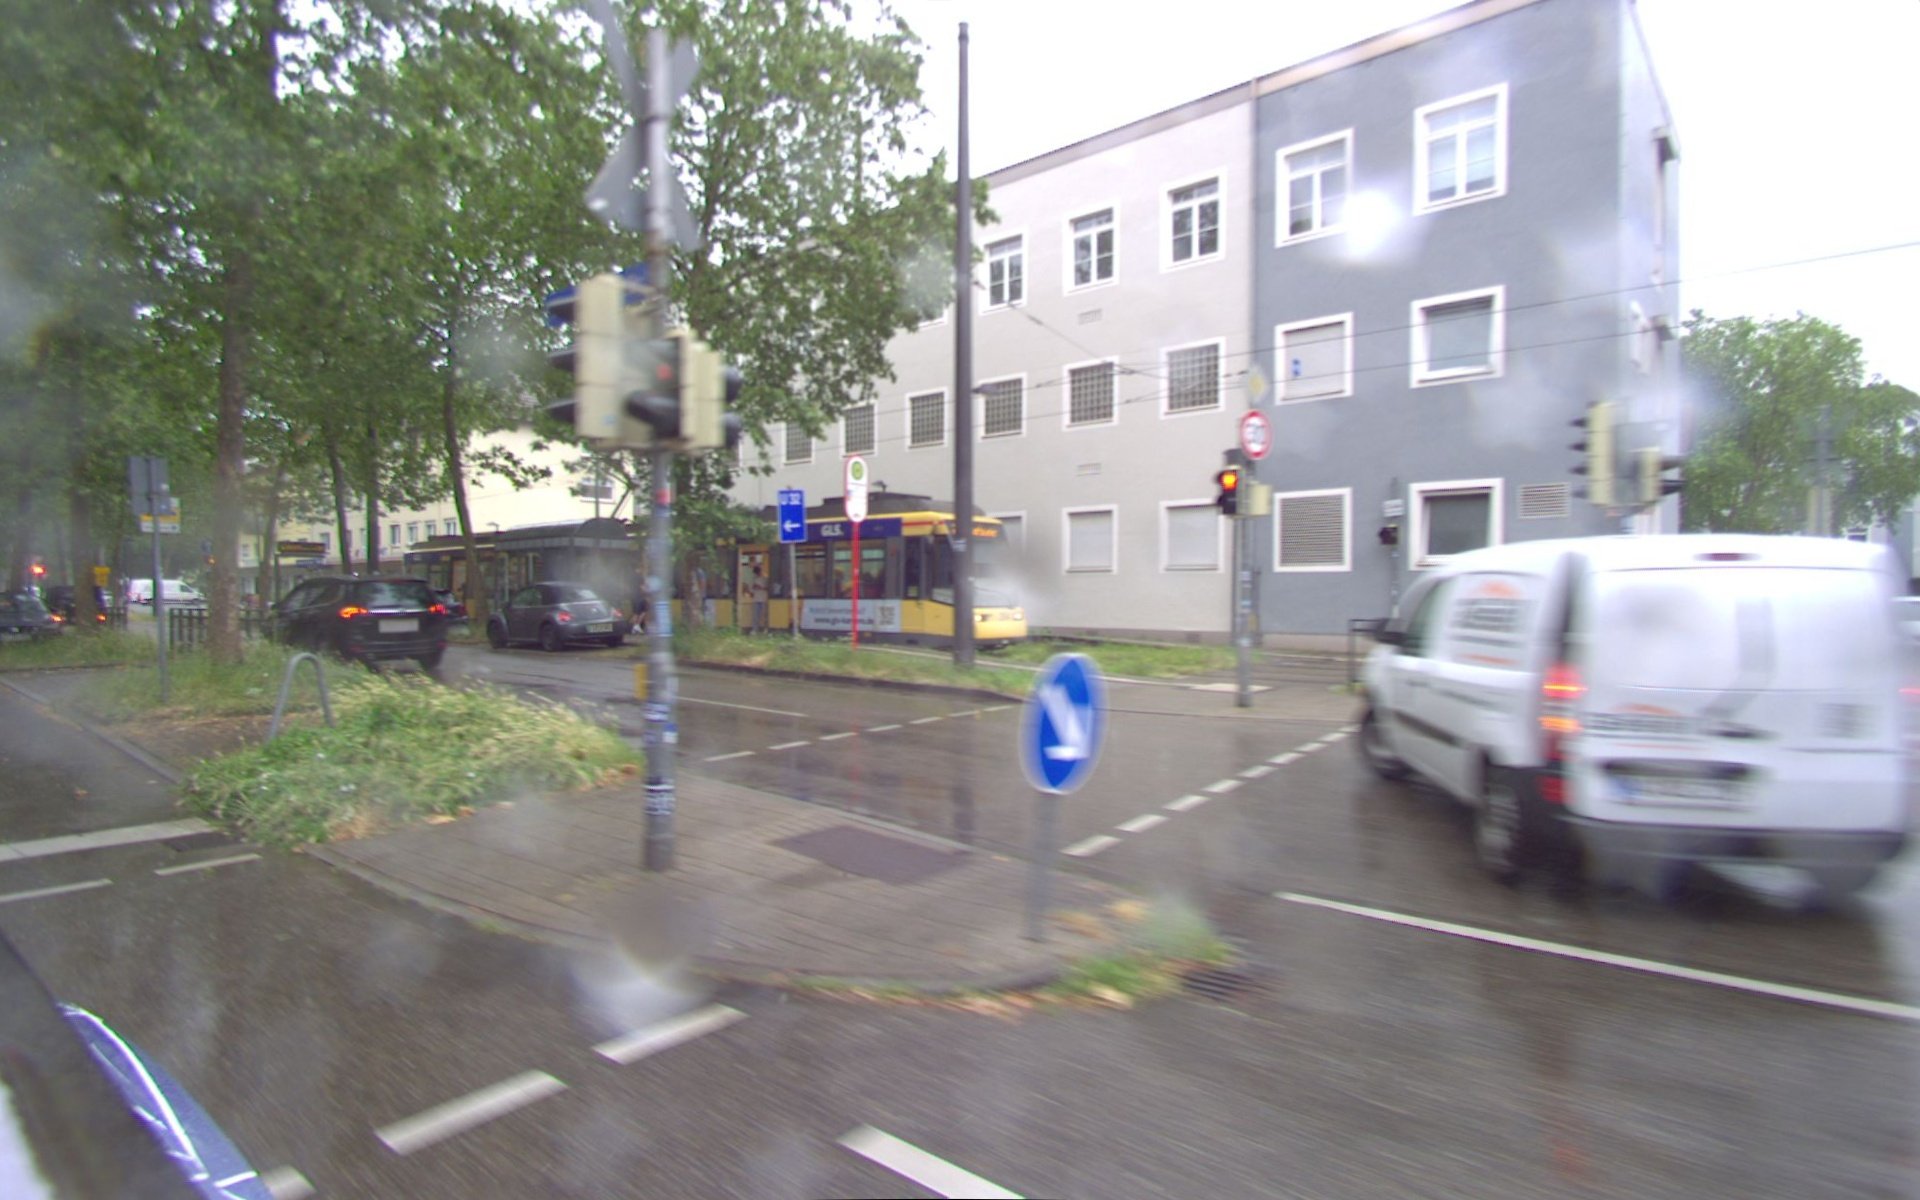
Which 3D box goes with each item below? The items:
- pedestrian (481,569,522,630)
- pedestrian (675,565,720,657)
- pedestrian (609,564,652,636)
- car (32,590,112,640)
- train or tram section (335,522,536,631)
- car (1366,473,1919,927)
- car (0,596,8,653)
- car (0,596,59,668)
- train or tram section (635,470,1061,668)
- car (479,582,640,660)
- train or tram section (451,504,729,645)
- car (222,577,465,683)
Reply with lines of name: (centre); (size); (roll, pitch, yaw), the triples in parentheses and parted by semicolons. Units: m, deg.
pedestrian: (-13.749, -0.028, 30.350); (0.946, 1.797, 0.819); (-1, 0, -12)
pedestrian: (-5.459, 0.224, 21.044); (0.635, 1.869, 0.654); (0, 1, 41)
pedestrian: (-8.361, -0.016, 25.740); (0.946, 1.797, 0.819); (-1, 0, -12)
car: (-31.720, 0.493, 36.122); (3.646, 1.675, 1.655); (0, 1, 41)
train or tram section: (-20.458, -0.862, 38.969); (11.547, 3.669, 2.869); (1, 2, 41)
car: (3.907, 0.388, 6.226); (1.918, 1.863, 4.051); (-1, 1, 12)
car: (-28.239, 0.697, 28.645); (3.326, 1.588, 1.551); (0, 1, 41)
car: (-21.313, 0.670, 22.284); (4.004, 1.493, 1.710); (0, 1, 41)
train or tram section: (-3.177, -0.656, 23.651); (11.547, 3.669, 2.869); (1, 2, 41)
car: (-9.116, 0.428, 22.897); (3.971, 1.520, 1.655); (0, 4, 41)
train or tram section: (-11.795, -0.758, 31.271); (11.547, 3.669, 2.869); (1, 2, 41)
car: (-10.870, 0.452, 17.734); (4.665, 1.631, 2.037); (0, 1, 37)
